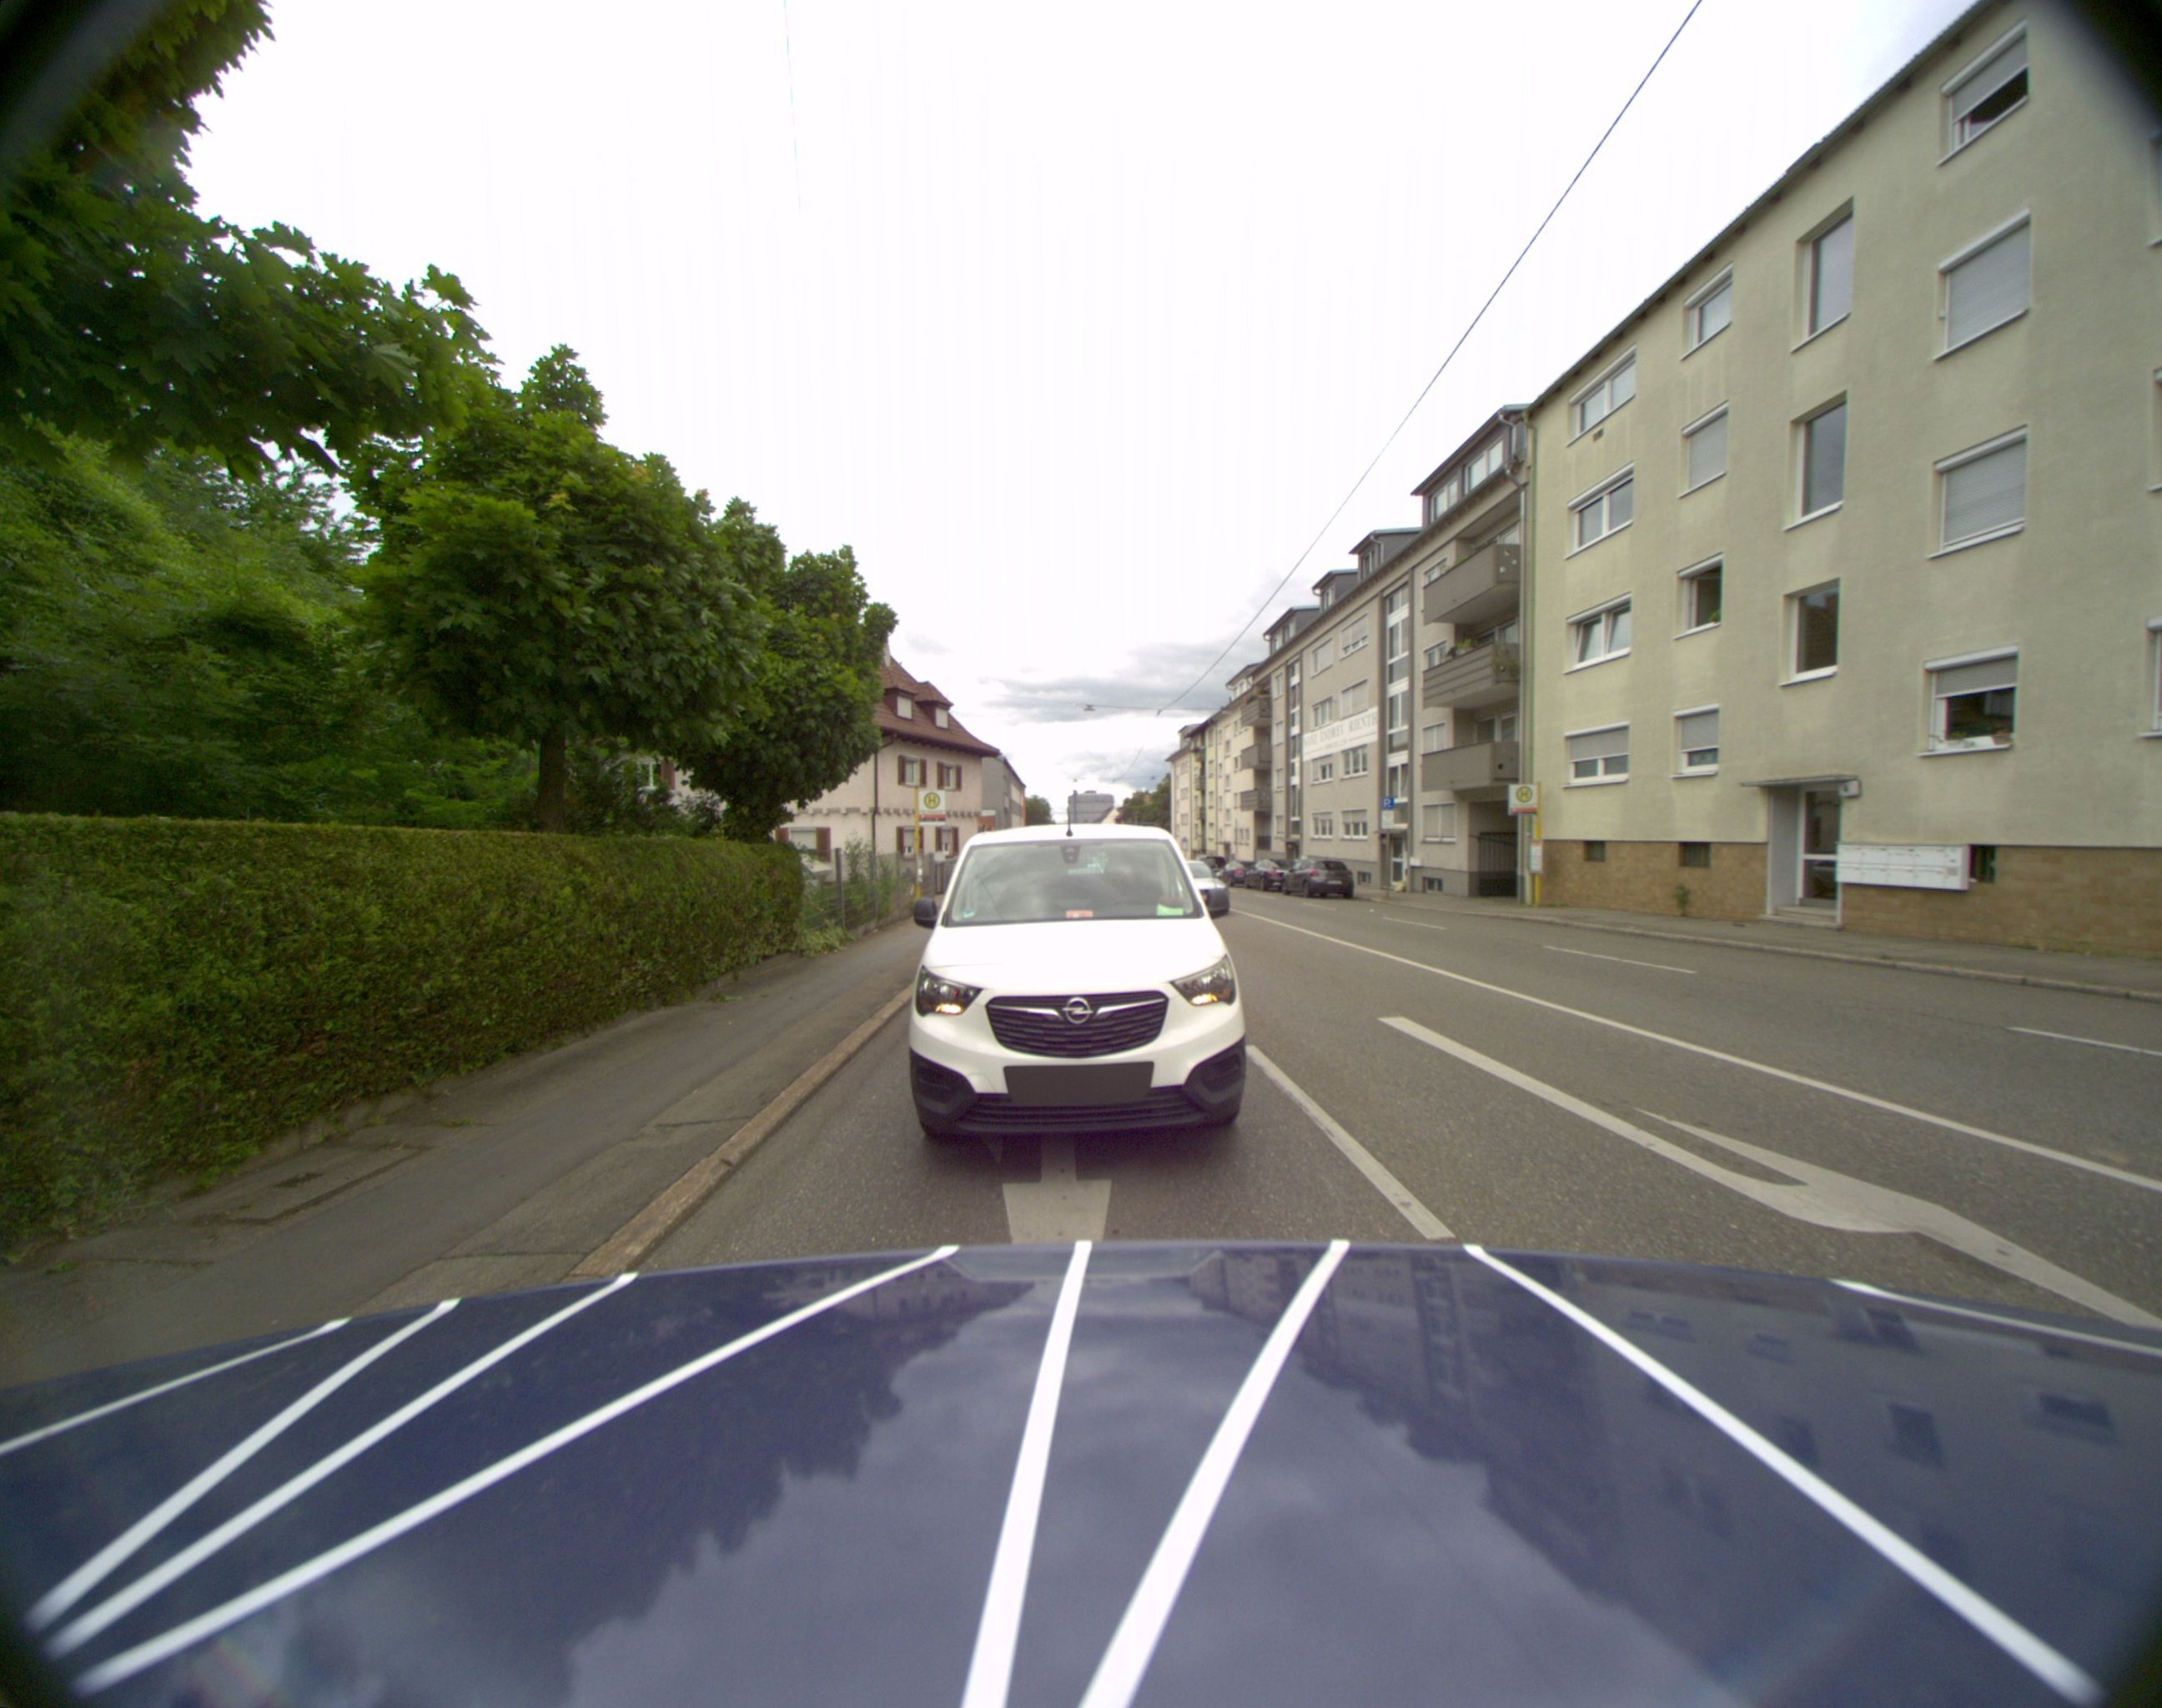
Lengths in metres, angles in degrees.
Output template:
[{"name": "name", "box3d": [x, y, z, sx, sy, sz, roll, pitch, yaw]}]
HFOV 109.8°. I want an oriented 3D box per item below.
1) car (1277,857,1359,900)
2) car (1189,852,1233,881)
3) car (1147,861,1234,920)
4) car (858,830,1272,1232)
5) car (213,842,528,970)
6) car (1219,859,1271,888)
[{"name": "car", "box3d": [8.894, 0.872, 28.854, 1.773, 1.428, 3.800, 1, 0, -2]}, {"name": "car", "box3d": [8.332, 0.786, 49.085, 1.875, 1.743, 4.306, 1, 0, -2]}, {"name": "car", "box3d": [2.798, 0.897, 20.306, 1.700, 1.365, 4.178, -2, -1, 0]}, {"name": "car", "box3d": [-0.128, 0.785, 5.451, 1.803, 1.736, 3.999, -3, 1, -2]}, {"name": "car", "box3d": [-13.002, 0.808, 14.112, 1.994, 2.002, 4.008, -1, 0, 40]}, {"name": "car", "box3d": [8.534, 0.970, 39.913, 1.772, 1.397, 4.307, -1, 0, 0]}]
